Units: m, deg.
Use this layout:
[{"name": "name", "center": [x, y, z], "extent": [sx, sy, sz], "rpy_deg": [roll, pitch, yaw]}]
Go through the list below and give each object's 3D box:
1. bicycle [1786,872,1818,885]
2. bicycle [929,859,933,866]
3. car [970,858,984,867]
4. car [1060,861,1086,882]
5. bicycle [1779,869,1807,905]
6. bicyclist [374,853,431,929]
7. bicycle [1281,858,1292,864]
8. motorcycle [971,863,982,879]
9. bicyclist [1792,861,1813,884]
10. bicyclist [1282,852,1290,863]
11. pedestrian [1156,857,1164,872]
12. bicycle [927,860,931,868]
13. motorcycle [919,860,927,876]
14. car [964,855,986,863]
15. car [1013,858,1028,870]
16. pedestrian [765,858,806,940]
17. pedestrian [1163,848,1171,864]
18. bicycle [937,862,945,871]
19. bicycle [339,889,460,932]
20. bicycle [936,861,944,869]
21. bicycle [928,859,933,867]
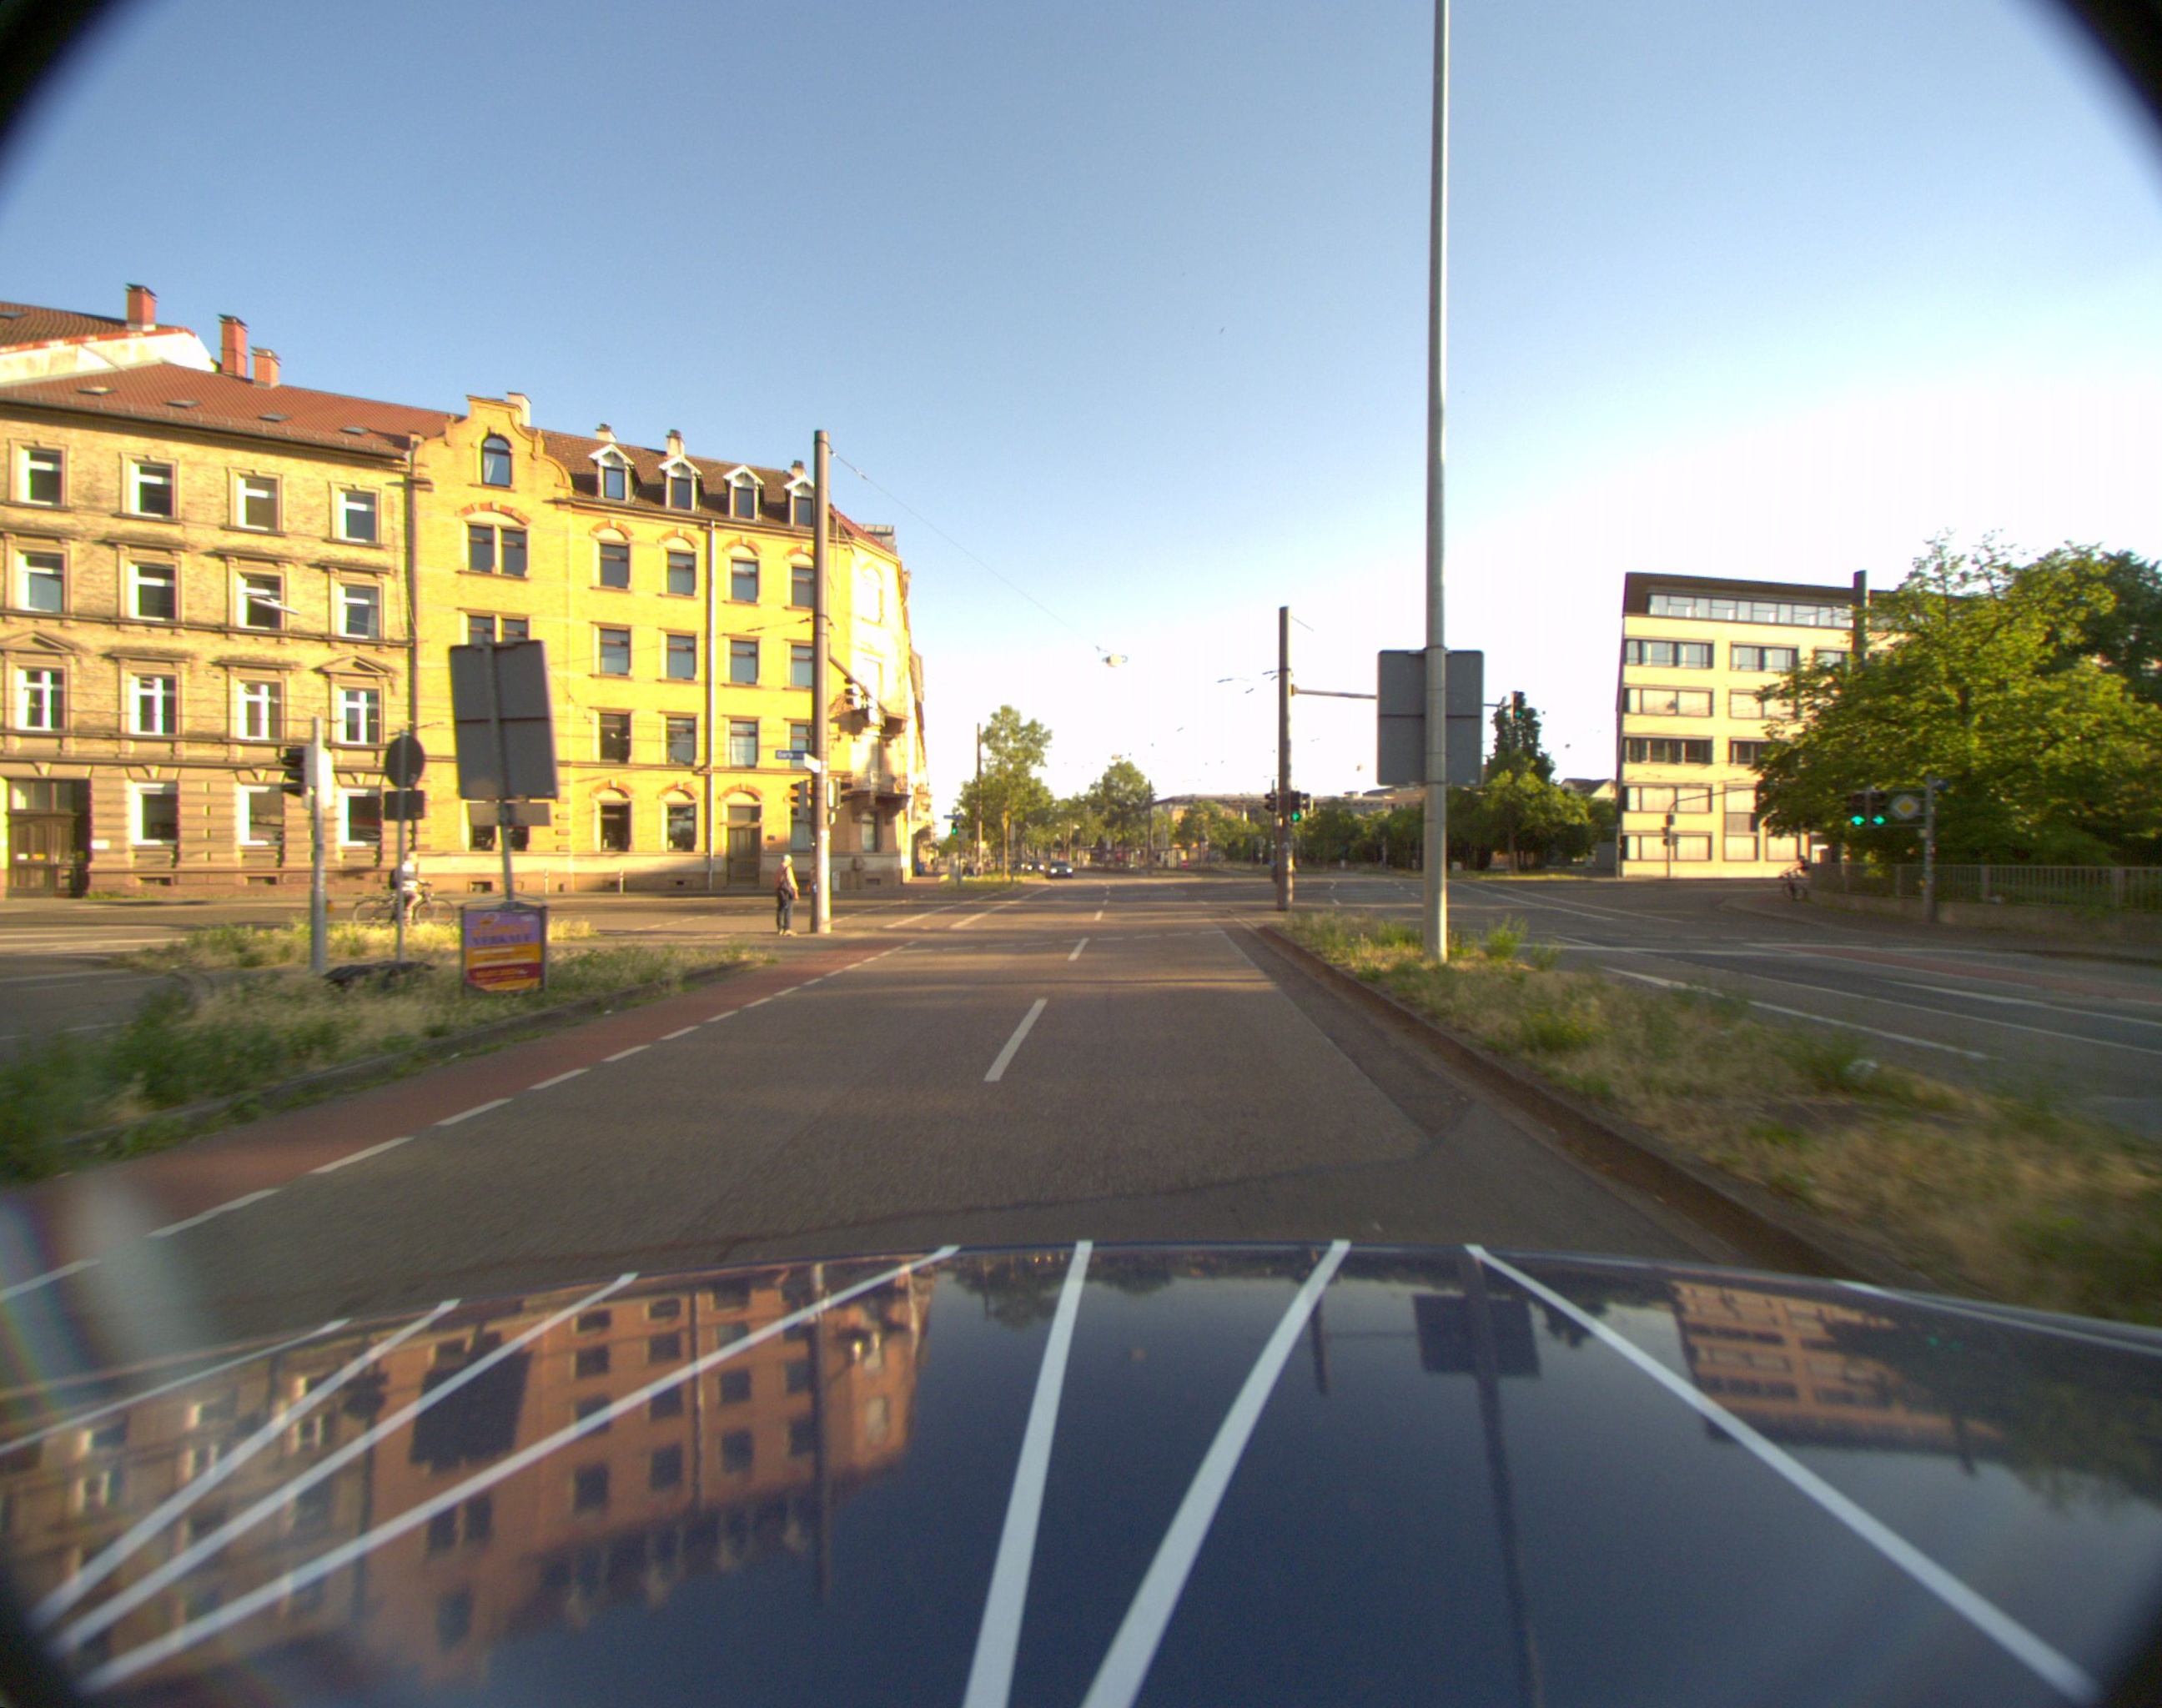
[{"name": "bicycle", "center": [46.774, 1.609, 49.288], "extent": [1.692, 0.828, 0.658], "rpy_deg": [0, 0, -10]}, {"name": "bicycle", "center": [-23.821, 1.382, 120.947], "extent": [0.574, 1.067, 1.895], "rpy_deg": [1, 0, -10]}, {"name": "car", "center": [-16.647, 1.344, 121.790], "extent": [1.952, 1.436, 4.904], "rpy_deg": [-3, 1, -10]}, {"name": "car", "center": [-0.694, 1.413, 62.629], "extent": [1.999, 1.655, 3.999], "rpy_deg": [0, 0, -3]}, {"name": "bicycle", "center": [24.033, 1.092, 25.664], "extent": [0.557, 1.135, 1.726], "rpy_deg": [0, 0, 38]}, {"name": "bicyclist", "center": [-14.434, 0.777, 16.181], "extent": [0.696, 1.574, 0.636], "rpy_deg": [0, 1, -19]}, {"name": "bicycle", "center": [26.553, 0.889, 98.255], "extent": [0.776, 0.816, 1.964], "rpy_deg": [0, 0, -7]}, {"name": "motorcycle", "center": [-6.863, 1.117, 49.901], "extent": [0.606, 1.038, 1.744], "rpy_deg": [0, 0, -3]}, {"name": "bicyclist", "center": [46.824, 1.186, 49.288], "extent": [0.744, 1.444, 0.667], "rpy_deg": [0, 0, -10]}, {"name": "bicyclist", "center": [26.542, 0.439, 98.268], "extent": [0.770, 1.459, 0.827], "rpy_deg": [0, 0, -8]}, {"name": "pedestrian", "center": [10.142, 1.346, 98.017], "extent": [0.772, 2.002, 1.126], "rpy_deg": [0, 0, -8]}, {"name": "bicycle", "center": [-20.018, 1.337, 100.270], "extent": [0.485, 0.999, 1.745], "rpy_deg": [0, 0, -10]}, {"name": "motorcycle", "center": [-12.639, 1.094, 60.806], "extent": [0.555, 1.207, 2.070], "rpy_deg": [-2, 1, -11]}, {"name": "car", "center": [-23.079, 1.100, 166.015], "extent": [4.421, 1.681, 1.919], "rpy_deg": [-1, 0, 25]}, {"name": "car", "center": [-8.231, 1.343, 103.337], "extent": [1.999, 1.655, 3.999], "rpy_deg": [0, 0, -3]}, {"name": "pedestrian", "center": [-5.992, 0.896, 15.418], "extent": [0.553, 1.619, 0.699], "rpy_deg": [0, 0, -1]}, {"name": "pedestrian", "center": [11.081, 0.259, 97.509], "extent": [0.772, 2.002, 1.126], "rpy_deg": [0, 0, -8]}, {"name": "bicycle", "center": [-16.513, 1.478, 89.762], "extent": [0.875, 0.910, 2.083], "rpy_deg": [1, 0, -8]}, {"name": "bicycle", "center": [-14.467, 1.194, 16.175], "extent": [1.817, 0.824, 0.621], "rpy_deg": [0, 1, -19]}, {"name": "bicycle", "center": [-17.085, 1.352, 92.253], "extent": [0.736, 0.942, 2.338], "rpy_deg": [1, 0, -7]}, {"name": "bicycle", "center": [-21.548, 1.313, 108.647], "extent": [0.485, 1.158, 1.745], "rpy_deg": [5, -1, -10]}]
